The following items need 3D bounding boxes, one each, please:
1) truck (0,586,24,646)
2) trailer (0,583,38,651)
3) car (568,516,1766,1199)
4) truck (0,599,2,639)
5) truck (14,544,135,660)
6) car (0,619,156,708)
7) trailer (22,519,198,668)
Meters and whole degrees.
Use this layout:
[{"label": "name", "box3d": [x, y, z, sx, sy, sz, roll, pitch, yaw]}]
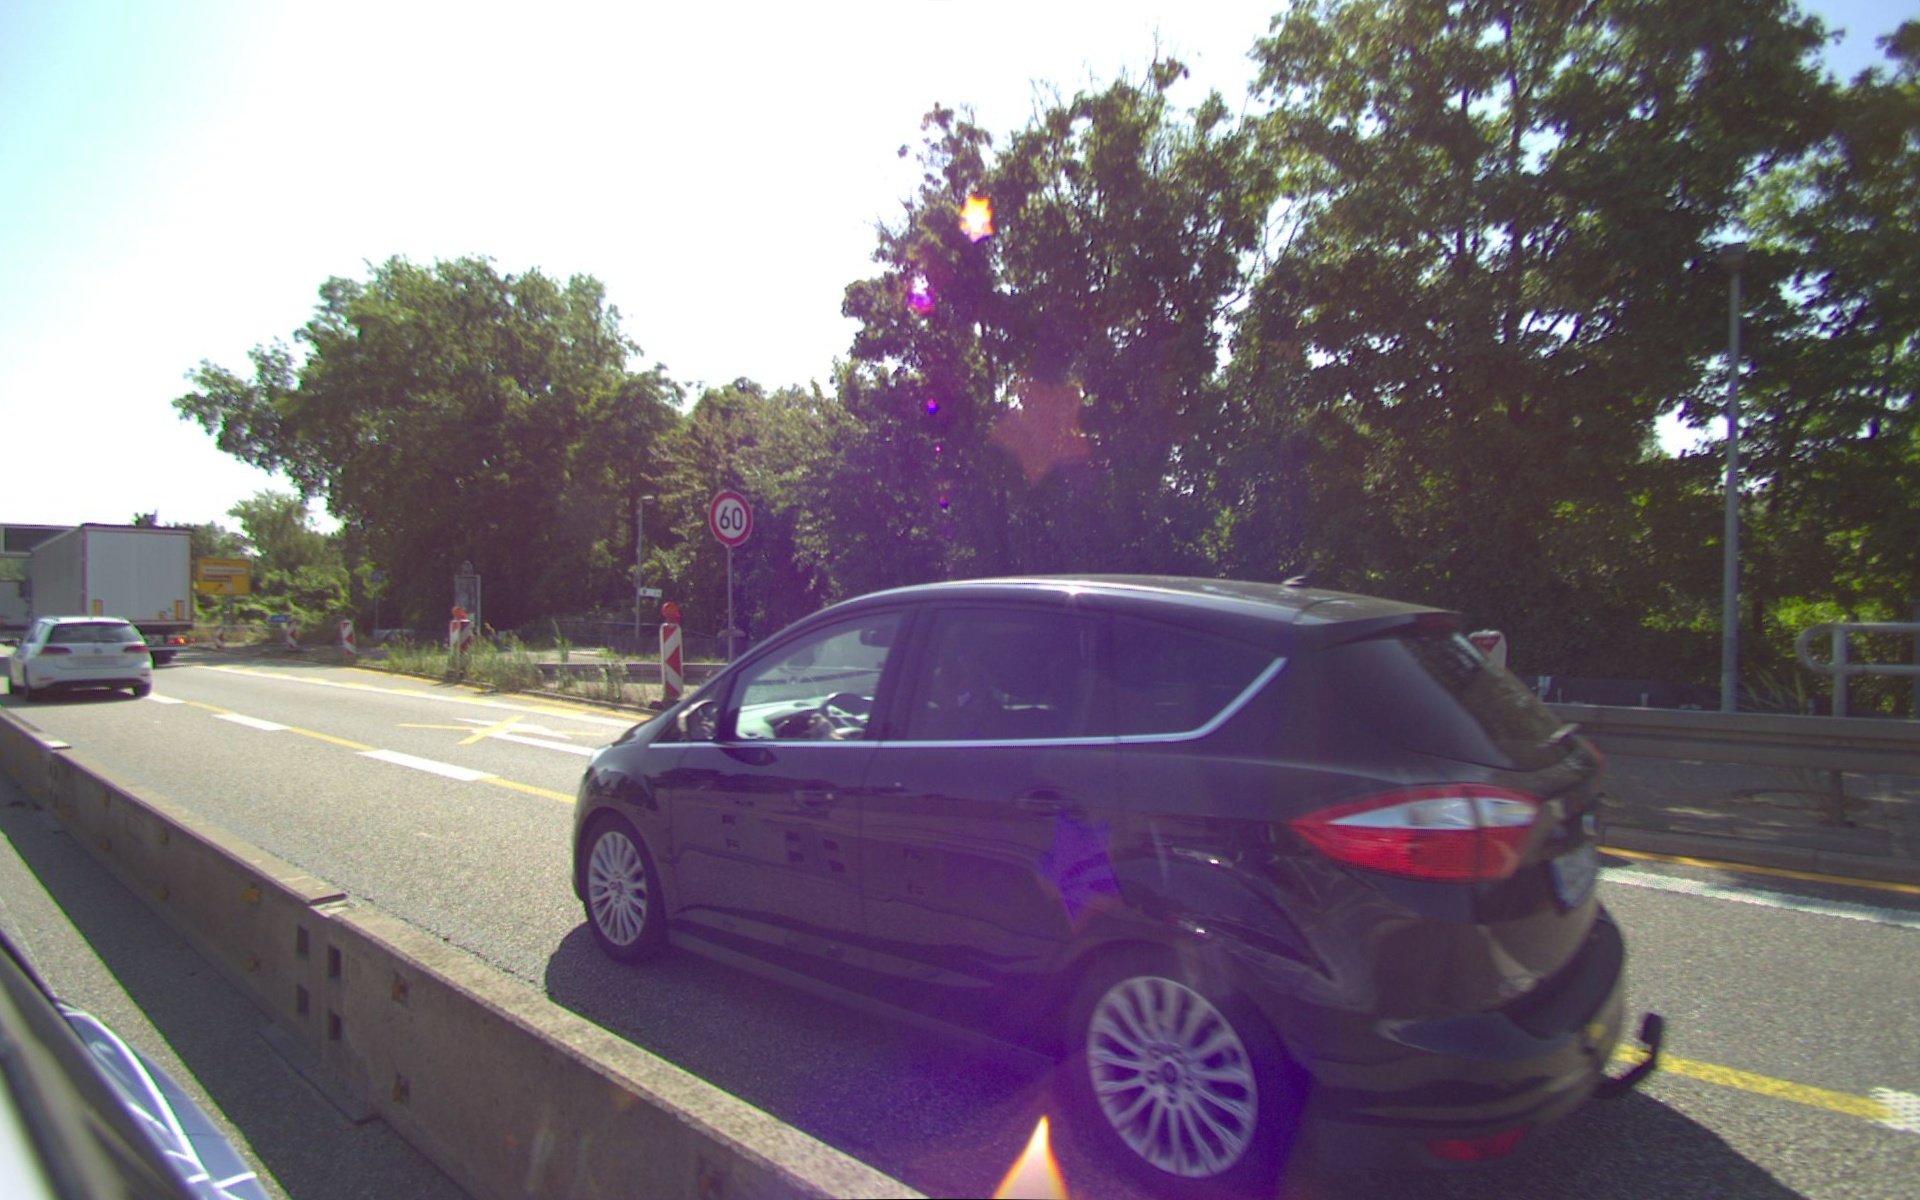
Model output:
[{"label": "truck", "box3d": [-69.074, 1.174, 72.432, 6.507, 4.159, 2.591, -1, -2, 44]}, {"label": "trailer", "box3d": [-63.628, 1.102, 67.180, 14.070, 4.159, 2.591, -1, -2, 44]}, {"label": "car", "box3d": [0.348, 0.673, 3.678, 3.941, 1.564, 1.720, -1, -1, 42]}, {"label": "truck", "box3d": [-103.544, 2.018, 107.017, 3.010, 4.136, 7.647, 1, -2, -45]}, {"label": "truck", "box3d": [-33.265, 0.144, 37.950, 5.985, 4.021, 2.784, -2, -2, 43]}, {"label": "car", "box3d": [-16.278, 1.079, 18.586, 4.153, 1.428, 1.794, -1, -1, 43]}, {"label": "trailer", "box3d": [-28.252, -0.024, 33.281, 13.467, 4.074, 2.773, -2, -2, 43]}]
